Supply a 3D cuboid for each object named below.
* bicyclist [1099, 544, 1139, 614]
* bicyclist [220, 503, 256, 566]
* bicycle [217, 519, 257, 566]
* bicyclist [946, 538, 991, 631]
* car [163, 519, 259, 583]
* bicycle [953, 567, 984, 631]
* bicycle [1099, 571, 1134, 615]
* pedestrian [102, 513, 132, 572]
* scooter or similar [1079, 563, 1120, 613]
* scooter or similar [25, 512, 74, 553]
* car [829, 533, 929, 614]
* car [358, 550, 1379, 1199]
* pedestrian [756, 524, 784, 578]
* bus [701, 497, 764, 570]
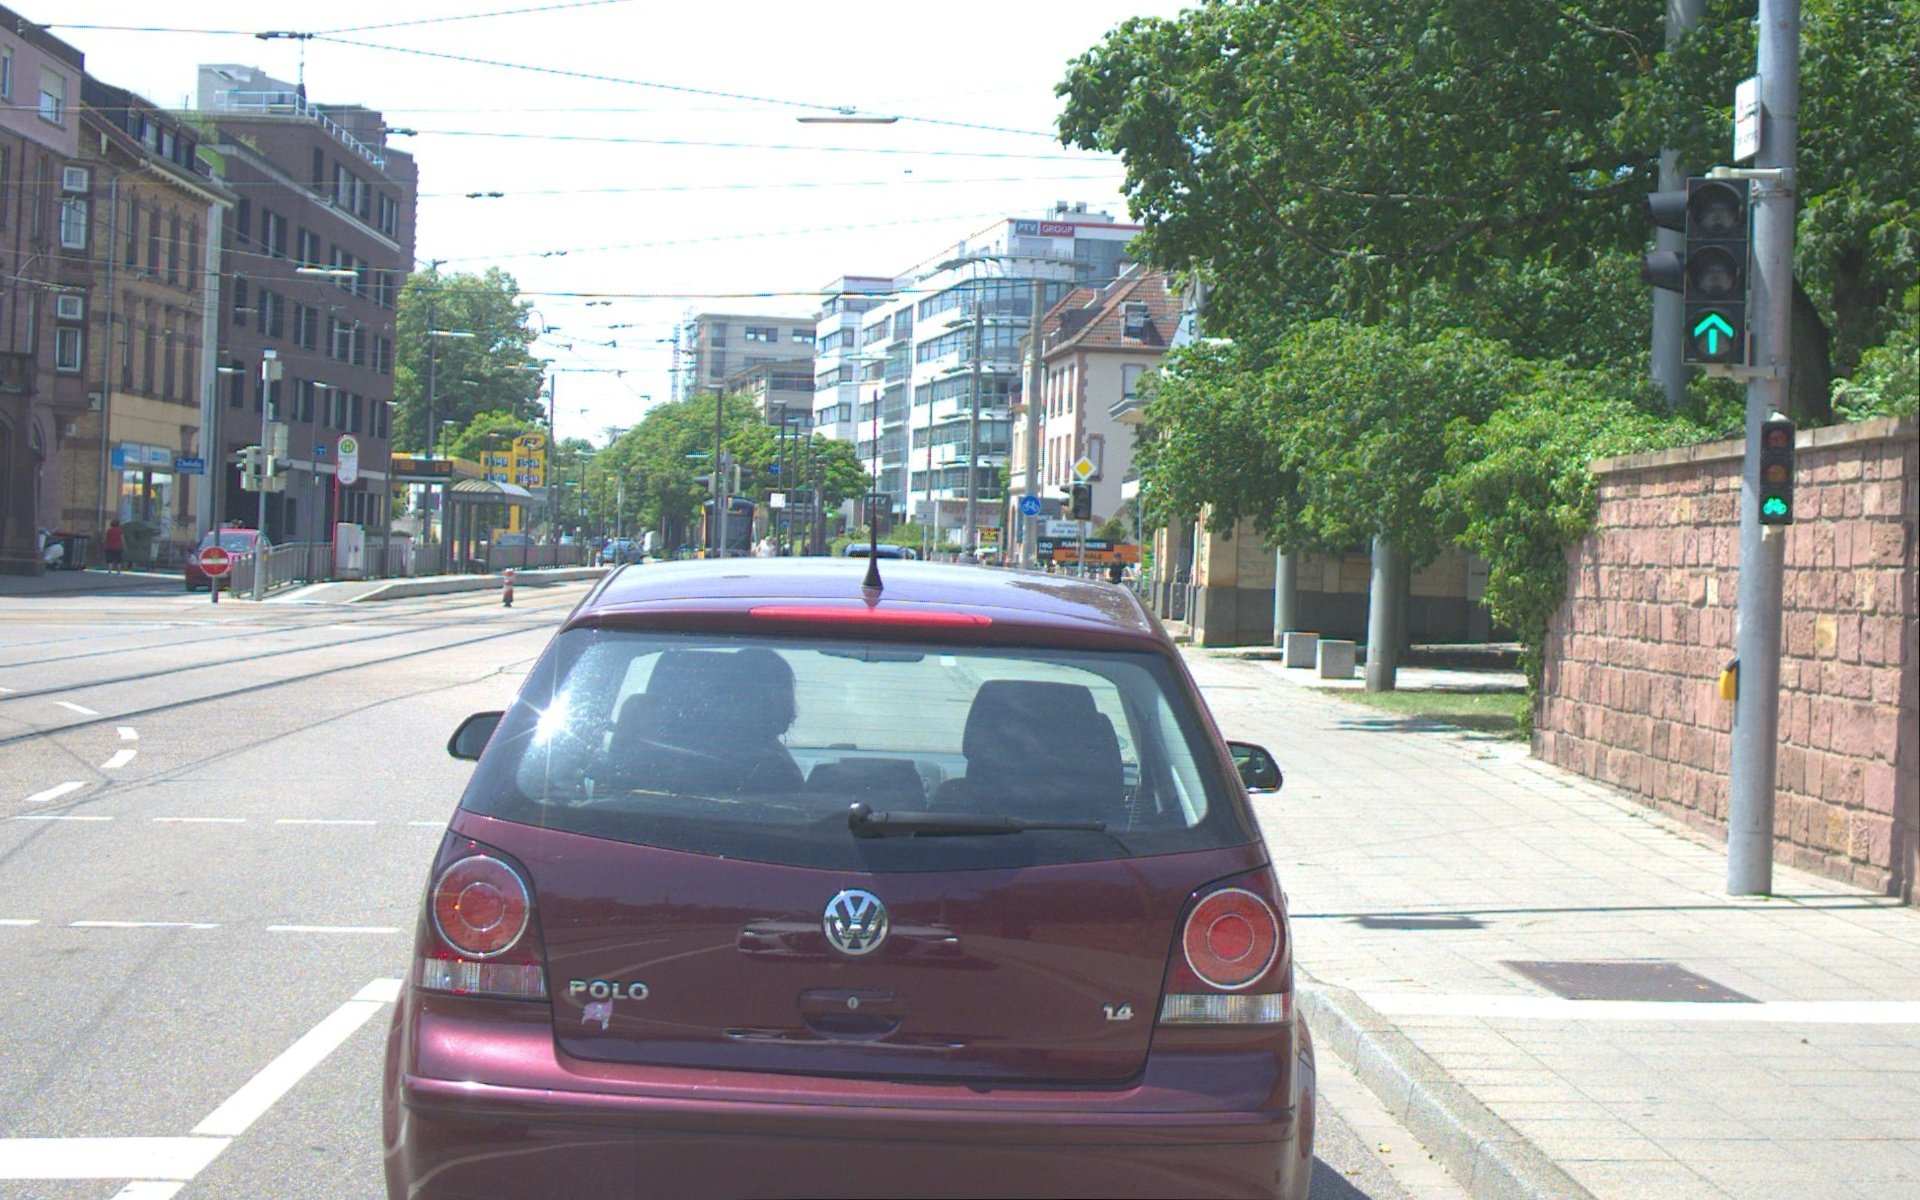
[{"bbox_3d":[3.753,-0.492,81.271,0.832,1.612,0.860,-2,1,-1],"label":"bicyclist"},{"bbox_3d":[-20.510,-1.866,97.703,0.732,1.756,1.135,2,1,-1],"label":"bicyclist"},{"bbox_3d":[-20.515,-1.638,97.617,0.677,1.300,2.105,2,1,-1],"label":"bicycle"},{"bbox_3d":[0.170,-0.312,66.210,0.727,1.754,0.924,2,1,6],"label":"bicyclist"},{"bbox_3d":[-18.445,-1.217,84.772,1.624,1.478,3.829,2,1,-2],"label":"car"},{"bbox_3d":[0.168,-0.023,66.285,0.375,1.193,1.905,2,1,6],"label":"bicycle"},{"bbox_3d":[3.699,-0.177,81.187,0.668,0.999,1.864,-2,1,-1],"label":"bicycle"},{"bbox_3d":[-22.568,-1.537,92.084,0.614,1.555,0.640,2,1,-1],"label":"pedestrian"},{"bbox_3d":[3.412,-0.296,84.190,0.339,1.174,1.468,2,1,-25],"label":"scooter or similar"},{"bbox_3d":[-24.332,-1.804,91.885,0.488,1.078,1.576,2,1,16],"label":"scooter or similar"},{"bbox_3d":[-1.785,-0.594,74.262,1.993,1.619,4.632,2,1,-3],"label":"car"},{"bbox_3d":[-0.193,0.655,6.916,1.561,1.448,3.062,2,1,-2],"label":"car"},{"bbox_3d":[-5.966,-1.530,107.811,0.763,1.669,1.100,2,1,0],"label":"pedestrian"},{"bbox_3d":[-9.734,-2.849,147.572,2.145,2.993,6.574,2,1,0],"label":"bus"}]
